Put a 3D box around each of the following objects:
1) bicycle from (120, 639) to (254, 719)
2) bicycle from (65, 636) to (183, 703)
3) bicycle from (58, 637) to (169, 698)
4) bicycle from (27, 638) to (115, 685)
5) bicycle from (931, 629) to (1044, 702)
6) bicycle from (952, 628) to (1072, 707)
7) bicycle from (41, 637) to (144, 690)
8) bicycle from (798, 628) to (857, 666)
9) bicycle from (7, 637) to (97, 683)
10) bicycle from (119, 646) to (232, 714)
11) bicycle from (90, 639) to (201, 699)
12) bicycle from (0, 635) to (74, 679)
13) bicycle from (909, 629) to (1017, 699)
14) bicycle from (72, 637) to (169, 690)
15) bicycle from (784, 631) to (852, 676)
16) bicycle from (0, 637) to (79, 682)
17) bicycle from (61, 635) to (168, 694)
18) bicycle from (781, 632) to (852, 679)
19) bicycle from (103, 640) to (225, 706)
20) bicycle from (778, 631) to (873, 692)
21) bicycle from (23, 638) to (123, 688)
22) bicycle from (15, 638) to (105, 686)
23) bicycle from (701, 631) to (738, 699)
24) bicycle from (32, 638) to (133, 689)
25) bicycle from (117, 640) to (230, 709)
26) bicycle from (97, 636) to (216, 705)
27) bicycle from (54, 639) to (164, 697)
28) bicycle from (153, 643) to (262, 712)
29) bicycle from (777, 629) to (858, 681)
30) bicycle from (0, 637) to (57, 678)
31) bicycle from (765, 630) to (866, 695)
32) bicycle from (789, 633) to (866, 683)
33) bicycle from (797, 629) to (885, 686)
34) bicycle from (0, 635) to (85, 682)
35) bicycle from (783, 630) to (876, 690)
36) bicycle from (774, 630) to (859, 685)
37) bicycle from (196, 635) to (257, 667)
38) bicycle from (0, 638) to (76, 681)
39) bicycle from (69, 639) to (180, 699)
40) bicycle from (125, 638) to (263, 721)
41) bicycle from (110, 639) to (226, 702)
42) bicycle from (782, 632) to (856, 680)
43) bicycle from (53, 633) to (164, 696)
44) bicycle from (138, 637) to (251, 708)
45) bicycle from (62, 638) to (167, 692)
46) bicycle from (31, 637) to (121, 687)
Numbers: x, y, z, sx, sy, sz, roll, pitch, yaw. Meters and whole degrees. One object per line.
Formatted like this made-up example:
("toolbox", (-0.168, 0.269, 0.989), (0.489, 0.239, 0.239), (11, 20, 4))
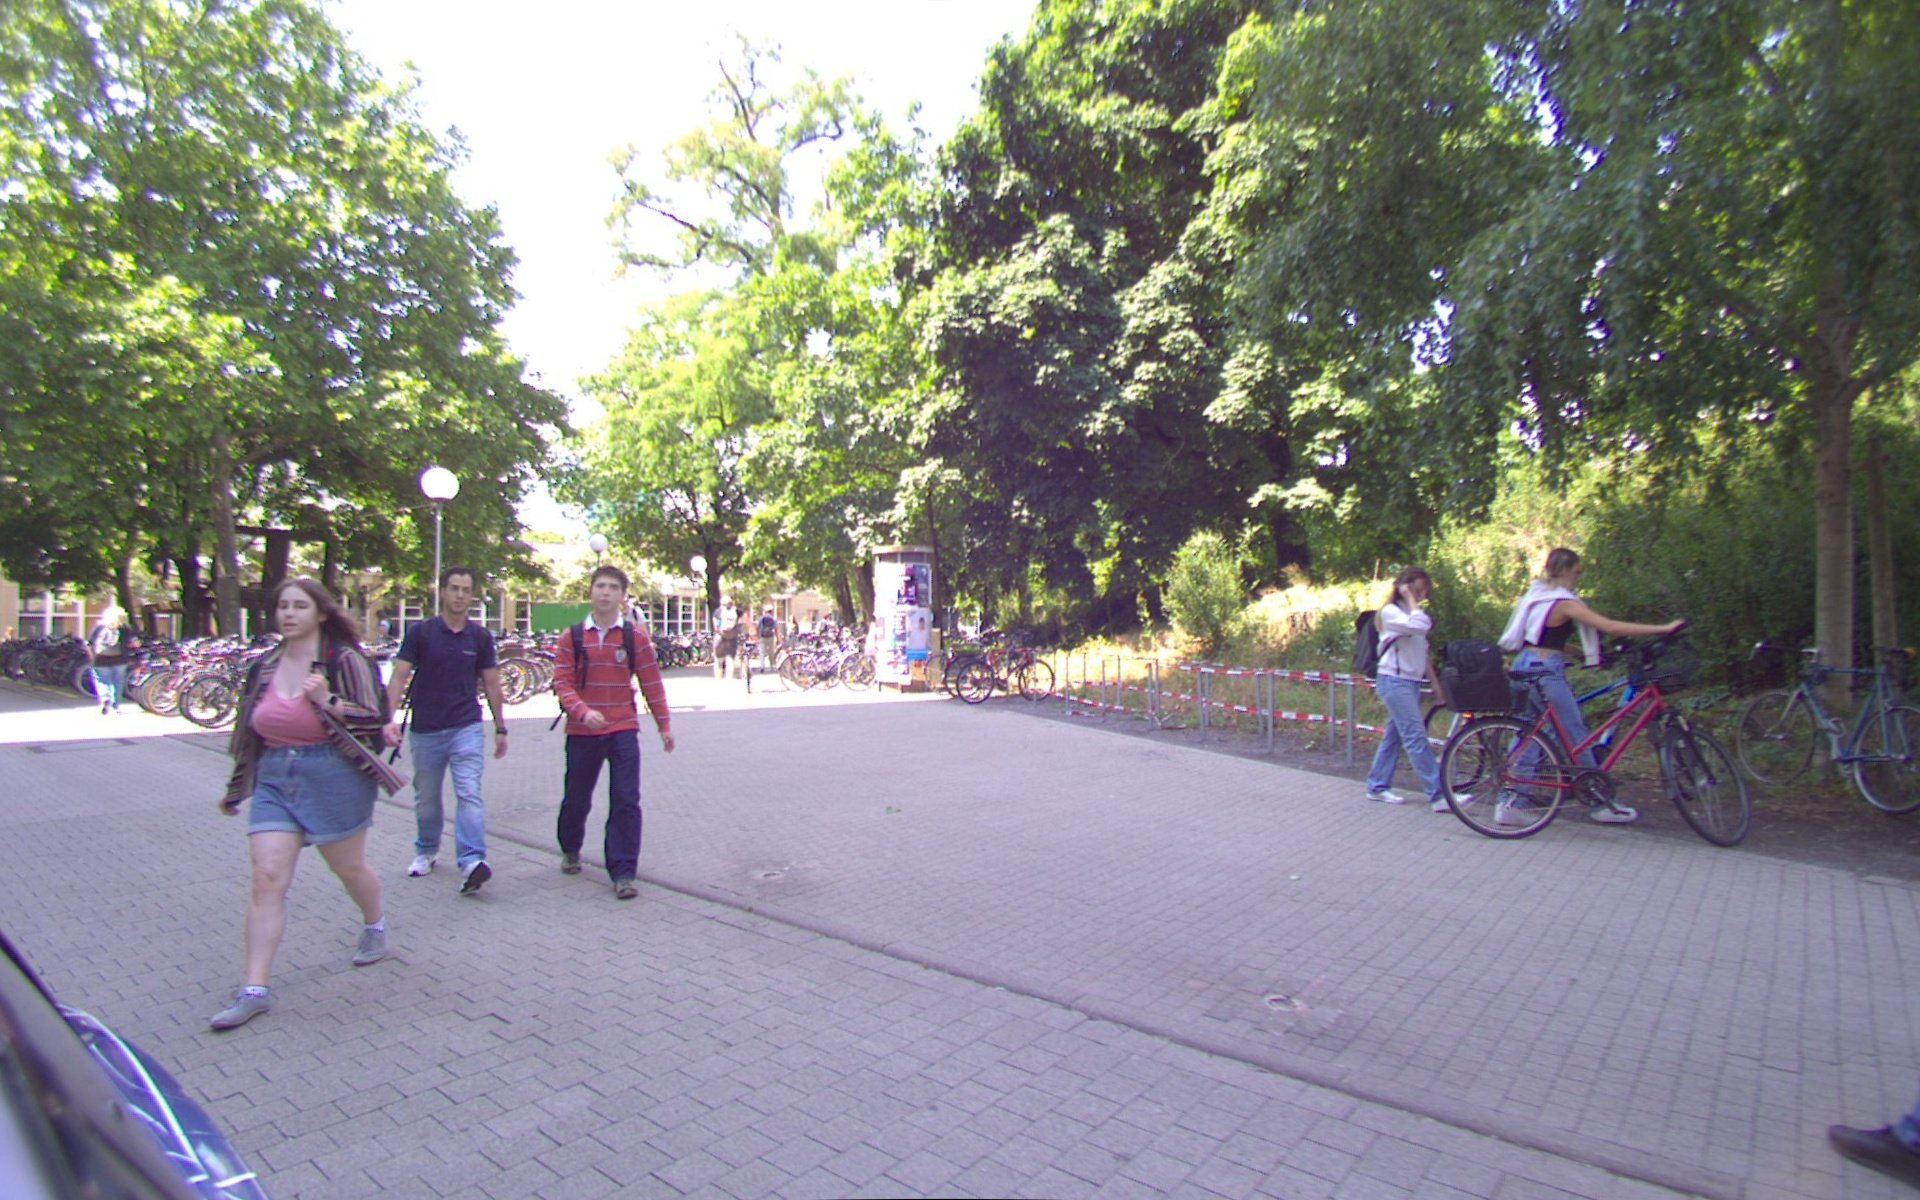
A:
("bicycle", (-12.319, 1.227, 16.187), (0.471, 1.177, 1.686), (-1, -1, 23))
("bicycle", (-16.167, 1.326, 19.611), (0.535, 1.208, 1.681), (-1, -1, 32))
("bicycle", (-17.203, 1.354, 20.599), (0.472, 1.154, 1.683), (-1, -1, 28))
("bicycle", (-22.332, 1.523, 25.449), (1.603, 1.116, 0.564), (0, -1, -36))
("bicycle", (0.443, 1.032, 16.228), (1.747, 1.118, 0.475), (0, -1, -21))
("bicycle", (0.785, 0.992, 15.205), (1.747, 1.118, 0.475), (0, -1, -21))
("bicycle", (-19.891, 1.437, 23.240), (0.496, 1.135, 1.720), (-1, -1, 35))
("bicycle", (-3.962, 1.395, 30.249), (1.750, 1.118, 0.518), (0, -1, -8))
("bicycle", (-23.568, 1.549, 26.315), (1.699, 1.116, 0.720), (0, -1, -39))
("bicycle", (-13.195, 1.322, 17.078), (0.468, 1.026, 1.697), (-1, -1, 5))
("bicycle", (-16.336, 1.356, 20.340), (0.472, 1.116, 1.683), (-1, -1, 29))
("bicycle", (-25.752, 1.584, 28.157), (0.497, 1.159, 1.608), (-1, -1, 40))
("bicycle", (0.048, 1.051, 17.022), (1.747, 1.118, 0.475), (0, -1, -21))
("bicycle", (-19.142, 1.432, 23.121), (0.492, 1.116, 1.731), (-1, -1, 16))
("bicycle", (-3.704, 1.384, 26.399), (1.750, 1.118, 0.518), (0, -1, -8))
("bicycle", (-24.426, 1.564, 26.784), (0.496, 1.116, 1.610), (-1, -1, 35))
("bicycle", (-18.210, 1.373, 21.832), (0.496, 1.187, 1.717), (-1, -1, 39))
("bicycle", (-3.602, 1.390, 25.502), (1.750, 1.118, 0.518), (0, -1, -8))
("bicycle", (-14.559, 1.306, 18.556), (0.580, 1.116, 1.683), (-1, -1, 29))
("bicycle", (-2.537, 1.148, 19.104), (1.750, 1.118, 0.475), (0, -1, -6))
("bicycle", (-21.100, 1.482, 24.119), (1.711, 1.116, 0.576), (0, -1, -31))
("bicycle", (-22.101, 1.507, 24.892), (1.603, 1.116, 0.498), (0, -1, -36))
("bicycle", (-4.320, 1.129, 18.097), (0.466, 1.118, 1.851), (0, -1, -19))
("bicycle", (-20.417, 1.456, 23.577), (0.496, 1.116, 1.717), (-1, -1, 40))
("bicycle", (-14.005, 1.301, 18.079), (0.469, 1.116, 1.692), (-1, -1, 13))
("bicycle", (-14.965, 1.285, 18.894), (0.472, 1.196, 1.683), (-1, -1, 29))
("bicycle", (-17.589, 1.387, 20.954), (0.495, 1.116, 1.682), (-1, -1, 30))
("bicycle", (-12.691, 1.285, 17.131), (0.468, 1.070, 1.697), (-1, -1, 5))
("bicycle", (-3.180, 1.218, 22.499), (1.749, 1.118, 0.475), (0, -1, -11))
("bicycle", (-26.506, 1.610, 28.476), (0.691, 1.116, 1.606), (-2, -2, 45))
("bicycle", (-2.557, 1.101, 17.996), (1.750, 1.118, 0.475), (0, -1, -6))
("bicycle", (-3.090, 1.339, 23.646), (1.749, 1.118, 0.518), (0, -1, -11))
("bicycle", (-2.425, 1.156, 20.628), (1.749, 1.118, 0.475), (0, -1, -11))
("bicycle", (-24.722, 1.555, 27.203), (0.496, 1.170, 1.764), (-1, -1, 35))
("bicycle", (-2.540, 1.149, 19.662), (1.749, 1.118, 0.475), (0, -1, -11))
("bicycle", (-3.039, 1.208, 21.452), (1.749, 1.118, 0.475), (0, -1, -11))
("bicycle", (-27.277, 1.879, 37.683), (0.392, 1.116, 1.818), (-1, -1, 34))
("bicycle", (-25.234, 1.607, 27.579), (0.643, 1.116, 1.610), (-1, -1, 35))
("bicycle", (-16.791, 1.366, 20.378), (0.472, 1.116, 1.683), (-1, -1, 28))
("bicycle", (-11.926, 1.209, 15.812), (0.472, 1.177, 1.684), (-1, -1, 27))
("bicycle", (-15.200, 1.337, 19.472), (0.563, 1.116, 1.683), (-1, -1, 29))
("bicycle", (-3.413, 1.336, 24.466), (1.749, 1.118, 0.518), (0, -1, -11))
("bicycle", (-17.910, 1.330, 21.319), (0.495, 1.245, 1.721), (-1, -1, 33))
("bicycle", (-13.557, 1.257, 17.973), (0.469, 1.166, 1.692), (-1, -1, 13))
("bicycle", (-18.656, 1.419, 22.374), (0.494, 1.116, 1.724), (-1, -1, 28))
("bicycle", (-21.506, 1.497, 24.651), (1.603, 1.152, 0.498), (0, -1, -36))
